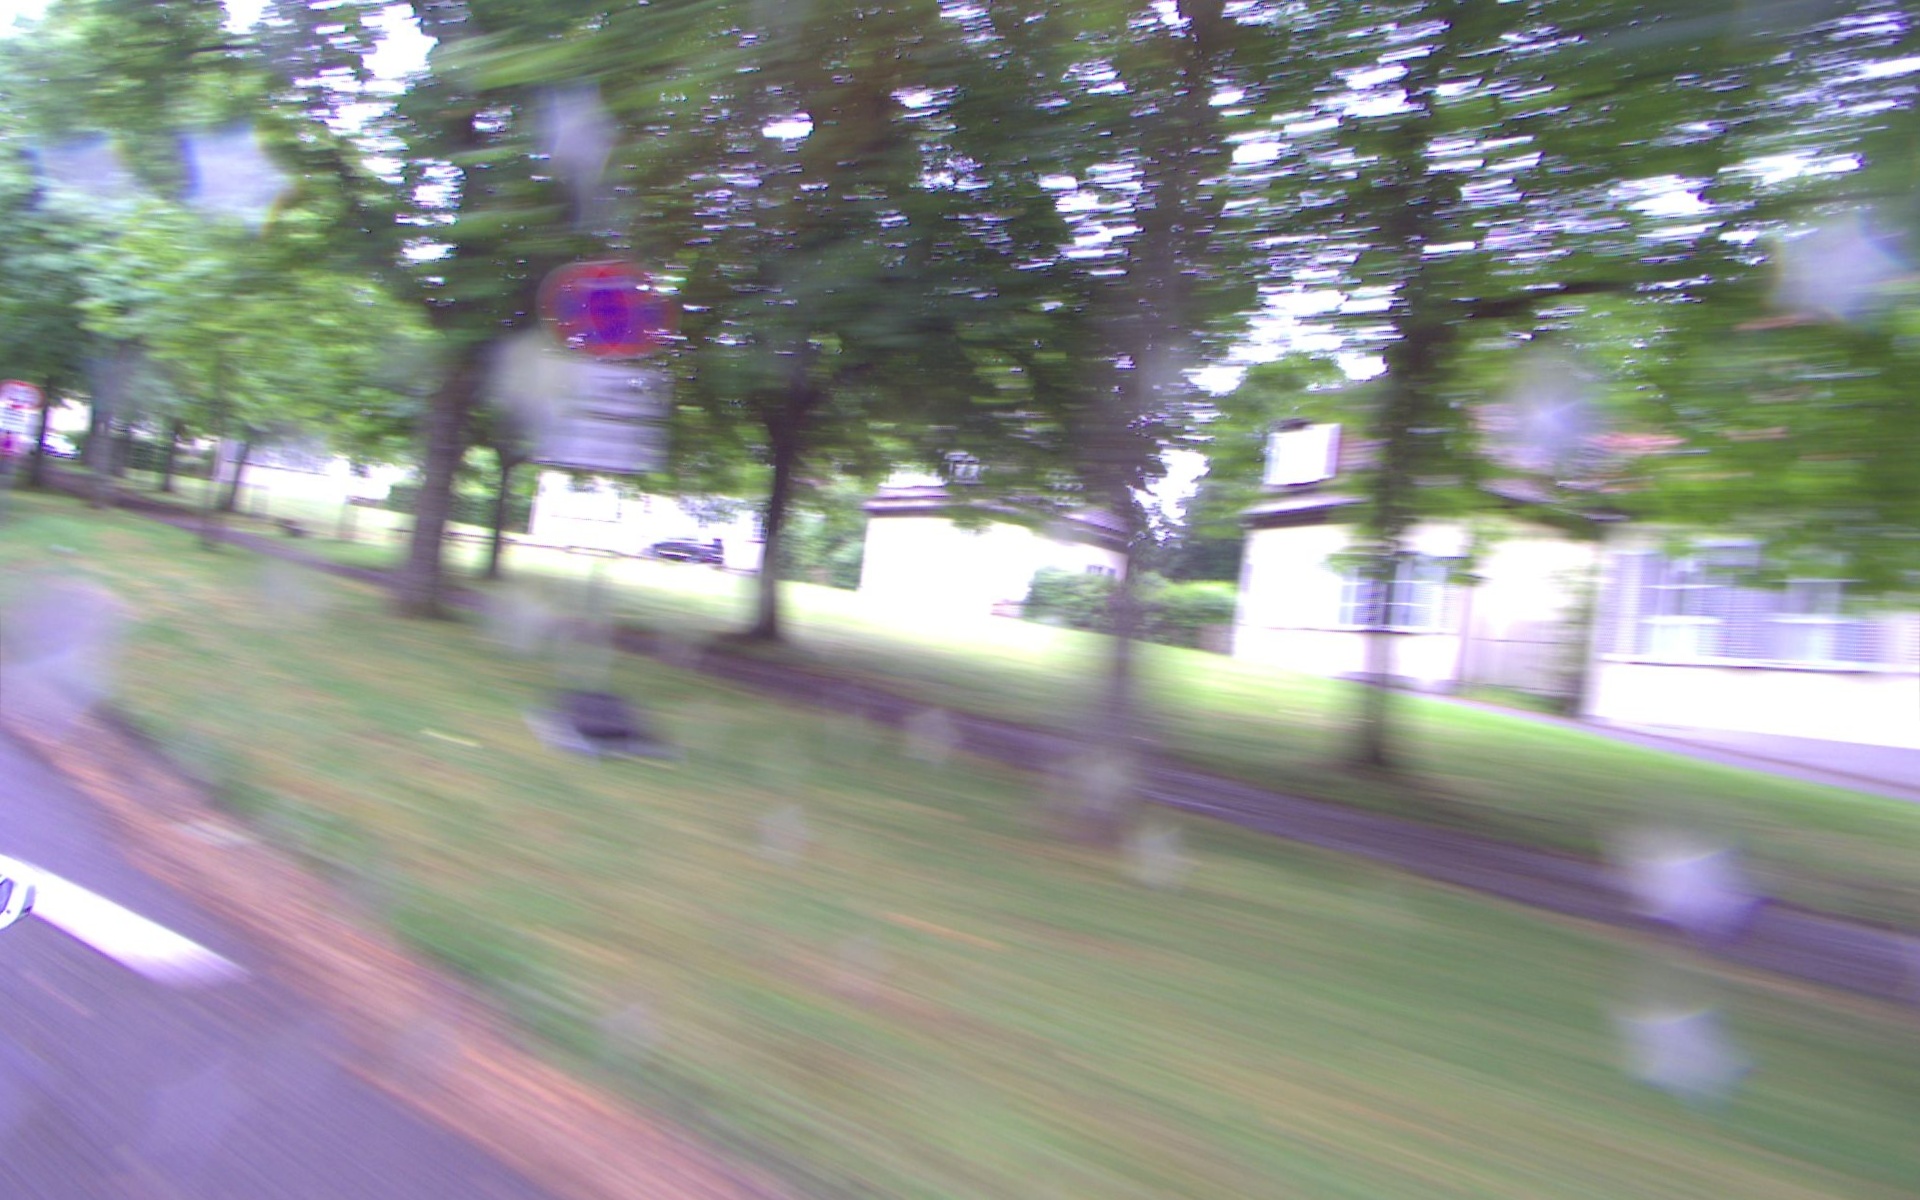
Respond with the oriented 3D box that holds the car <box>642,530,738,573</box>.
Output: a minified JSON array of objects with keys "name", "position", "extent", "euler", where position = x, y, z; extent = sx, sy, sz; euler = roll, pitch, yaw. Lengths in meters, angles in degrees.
[{"name":"car","position":[-13.195,-2.376,49.085],"extent":[4.434,1.528,1.993],"euler":[8,3,33]}]
